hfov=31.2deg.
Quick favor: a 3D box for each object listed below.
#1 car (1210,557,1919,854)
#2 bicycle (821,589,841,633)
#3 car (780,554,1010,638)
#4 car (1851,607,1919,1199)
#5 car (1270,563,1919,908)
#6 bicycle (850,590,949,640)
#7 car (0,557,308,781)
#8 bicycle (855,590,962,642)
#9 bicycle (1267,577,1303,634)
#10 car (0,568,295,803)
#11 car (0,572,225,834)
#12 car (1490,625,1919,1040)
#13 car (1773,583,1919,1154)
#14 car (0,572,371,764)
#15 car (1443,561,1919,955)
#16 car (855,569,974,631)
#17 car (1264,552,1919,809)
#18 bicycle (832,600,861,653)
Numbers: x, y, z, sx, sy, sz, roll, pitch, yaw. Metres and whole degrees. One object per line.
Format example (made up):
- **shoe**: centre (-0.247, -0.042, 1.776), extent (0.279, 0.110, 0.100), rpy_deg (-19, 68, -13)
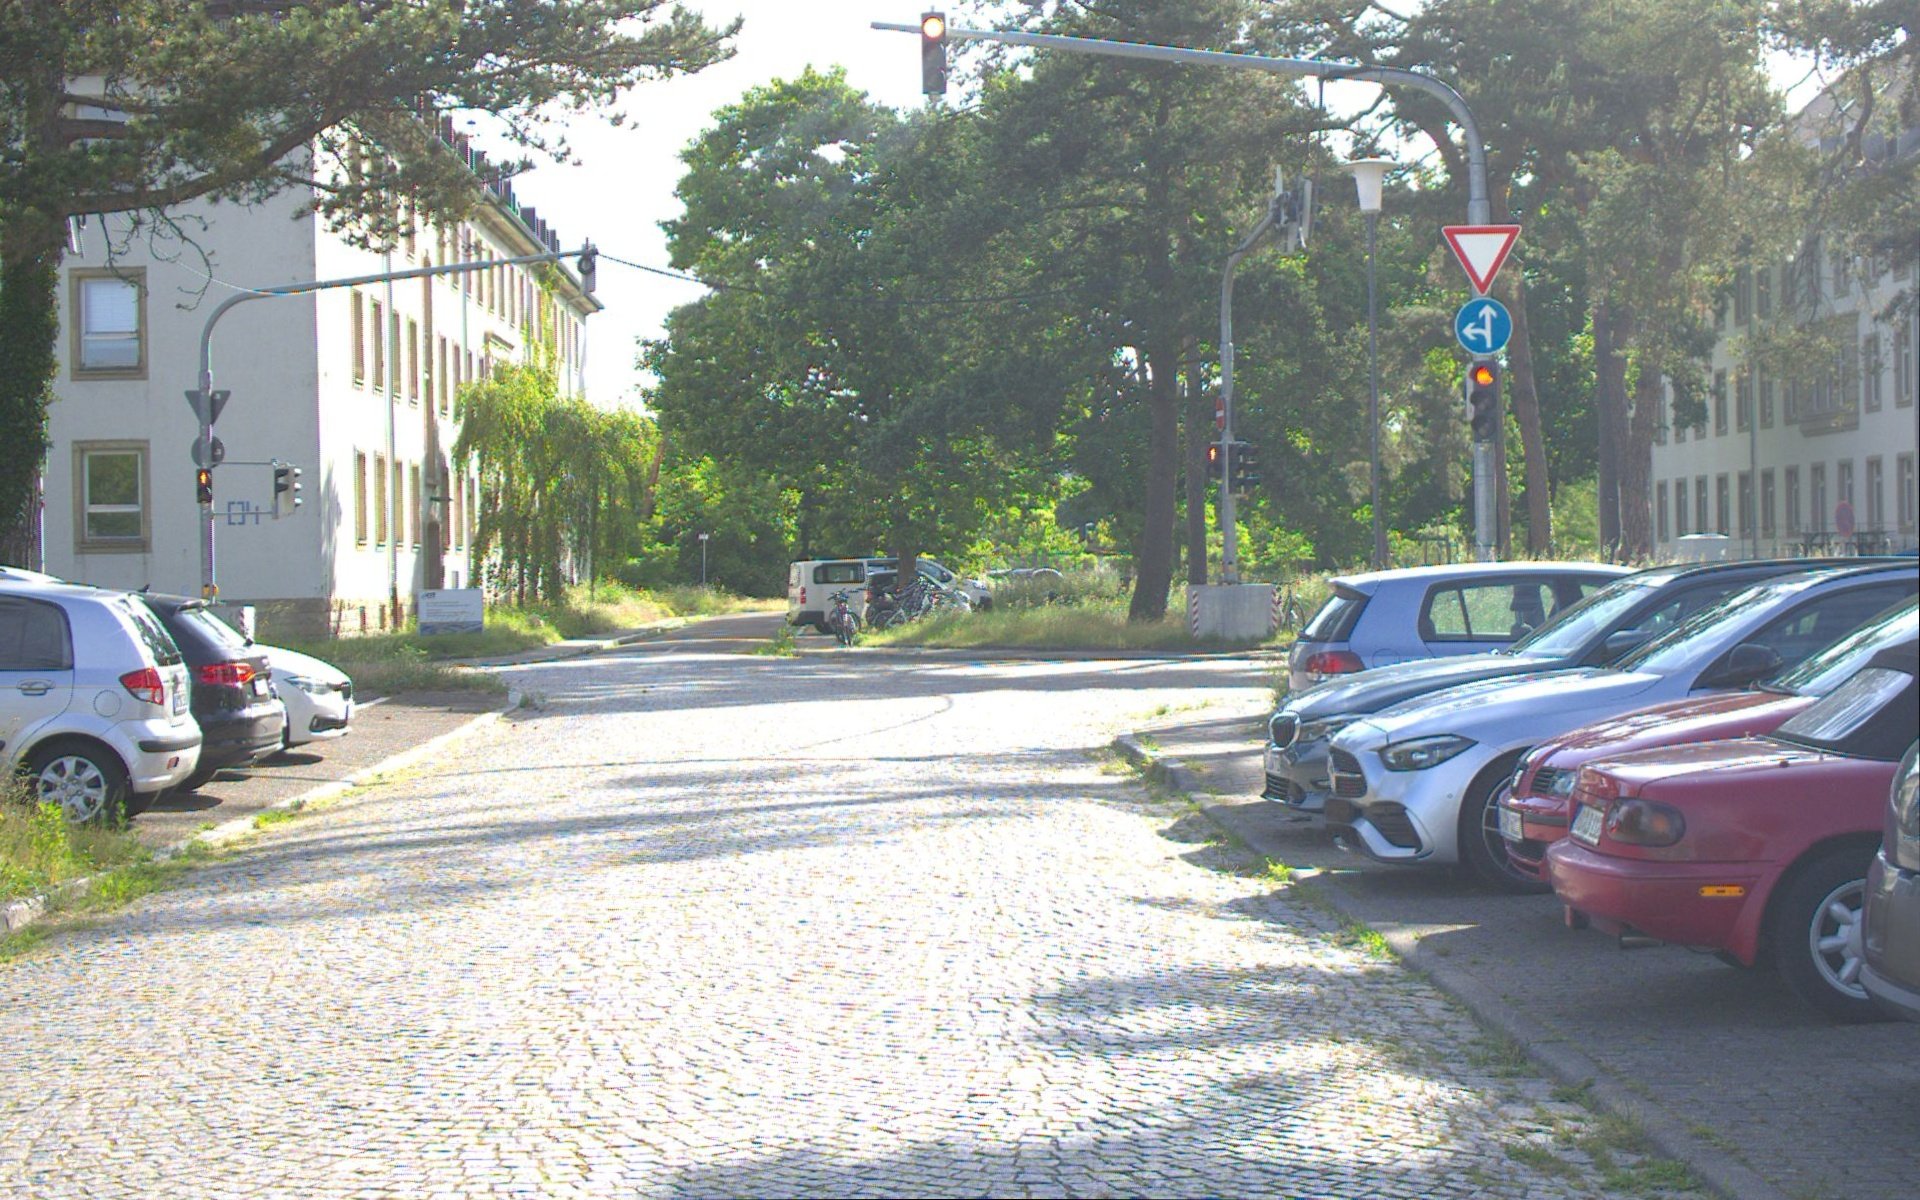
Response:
- **car**: centre (3.758, 0.541, 19.051), extent (4.559, 1.410, 1.637), rpy_deg (-2, 1, -1)
- **bicycle**: centre (-3.006, 0.263, 80.245), extent (0.417, 1.007, 1.483), rpy_deg (1, 0, -1)
- **car**: centre (-1.679, -0.091, 88.715), extent (5.520, 2.007, 2.001), rpy_deg (1, 0, -19)
- **car**: centre (3.766, 0.686, 6.338), extent (3.707, 1.444, 1.856), rpy_deg (-2, 1, -1)
- **car**: centre (3.803, 0.577, 16.336), extent (4.432, 1.410, 1.781), rpy_deg (-2, 1, -1)
- **bicycle**: centre (-1.272, 0.322, 72.334), extent (2.004, 1.007, 0.632), rpy_deg (1, 0, -9)
- **car**: centre (-7.156, 0.482, 26.203), extent (4.079, 1.588, 1.886), rpy_deg (1, 1, -4)
- **bicycle**: centre (-1.064, 0.323, 70.667), extent (2.108, 1.007, 0.621), rpy_deg (1, 0, -9)
- **bicycle**: centre (5.542, 0.087, 58.644), extent (0.300, 0.957, 1.586), rpy_deg (1, 0, -5)
- **car**: centre (-6.645, 0.531, 23.315), extent (3.986, 1.475, 1.803), rpy_deg (1, 1, -4)
- **car**: centre (-6.459, 0.566, 20.744), extent (3.745, 1.482, 1.646), rpy_deg (1, 1, -4)
- **car**: centre (3.846, 0.706, 11.854), extent (3.707, 1.219, 1.746), rpy_deg (-2, 1, -1)
- **car**: centre (4.294, 0.631, 9.259), extent (3.707, 1.444, 1.816), rpy_deg (-2, 1, -1)
- **car**: centre (-7.177, 0.527, 28.534), extent (4.333, 1.463, 1.831), rpy_deg (1, 1, -4)
- **car**: centre (4.212, 0.567, 14.239), extent (4.127, 1.444, 1.637), rpy_deg (-2, 1, -1)
- **car**: centre (-1.137, 0.008, 85.100), extent (2.781, 1.462, 1.671), rpy_deg (1, 0, -6)
- **car**: centre (3.980, 0.480, 21.834), extent (3.882, 1.410, 1.637), rpy_deg (-2, 1, -1)
- **bicycle**: centre (-2.212, 0.515, 66.859), extent (0.467, 1.007, 1.586), rpy_deg (1, 0, -5)
